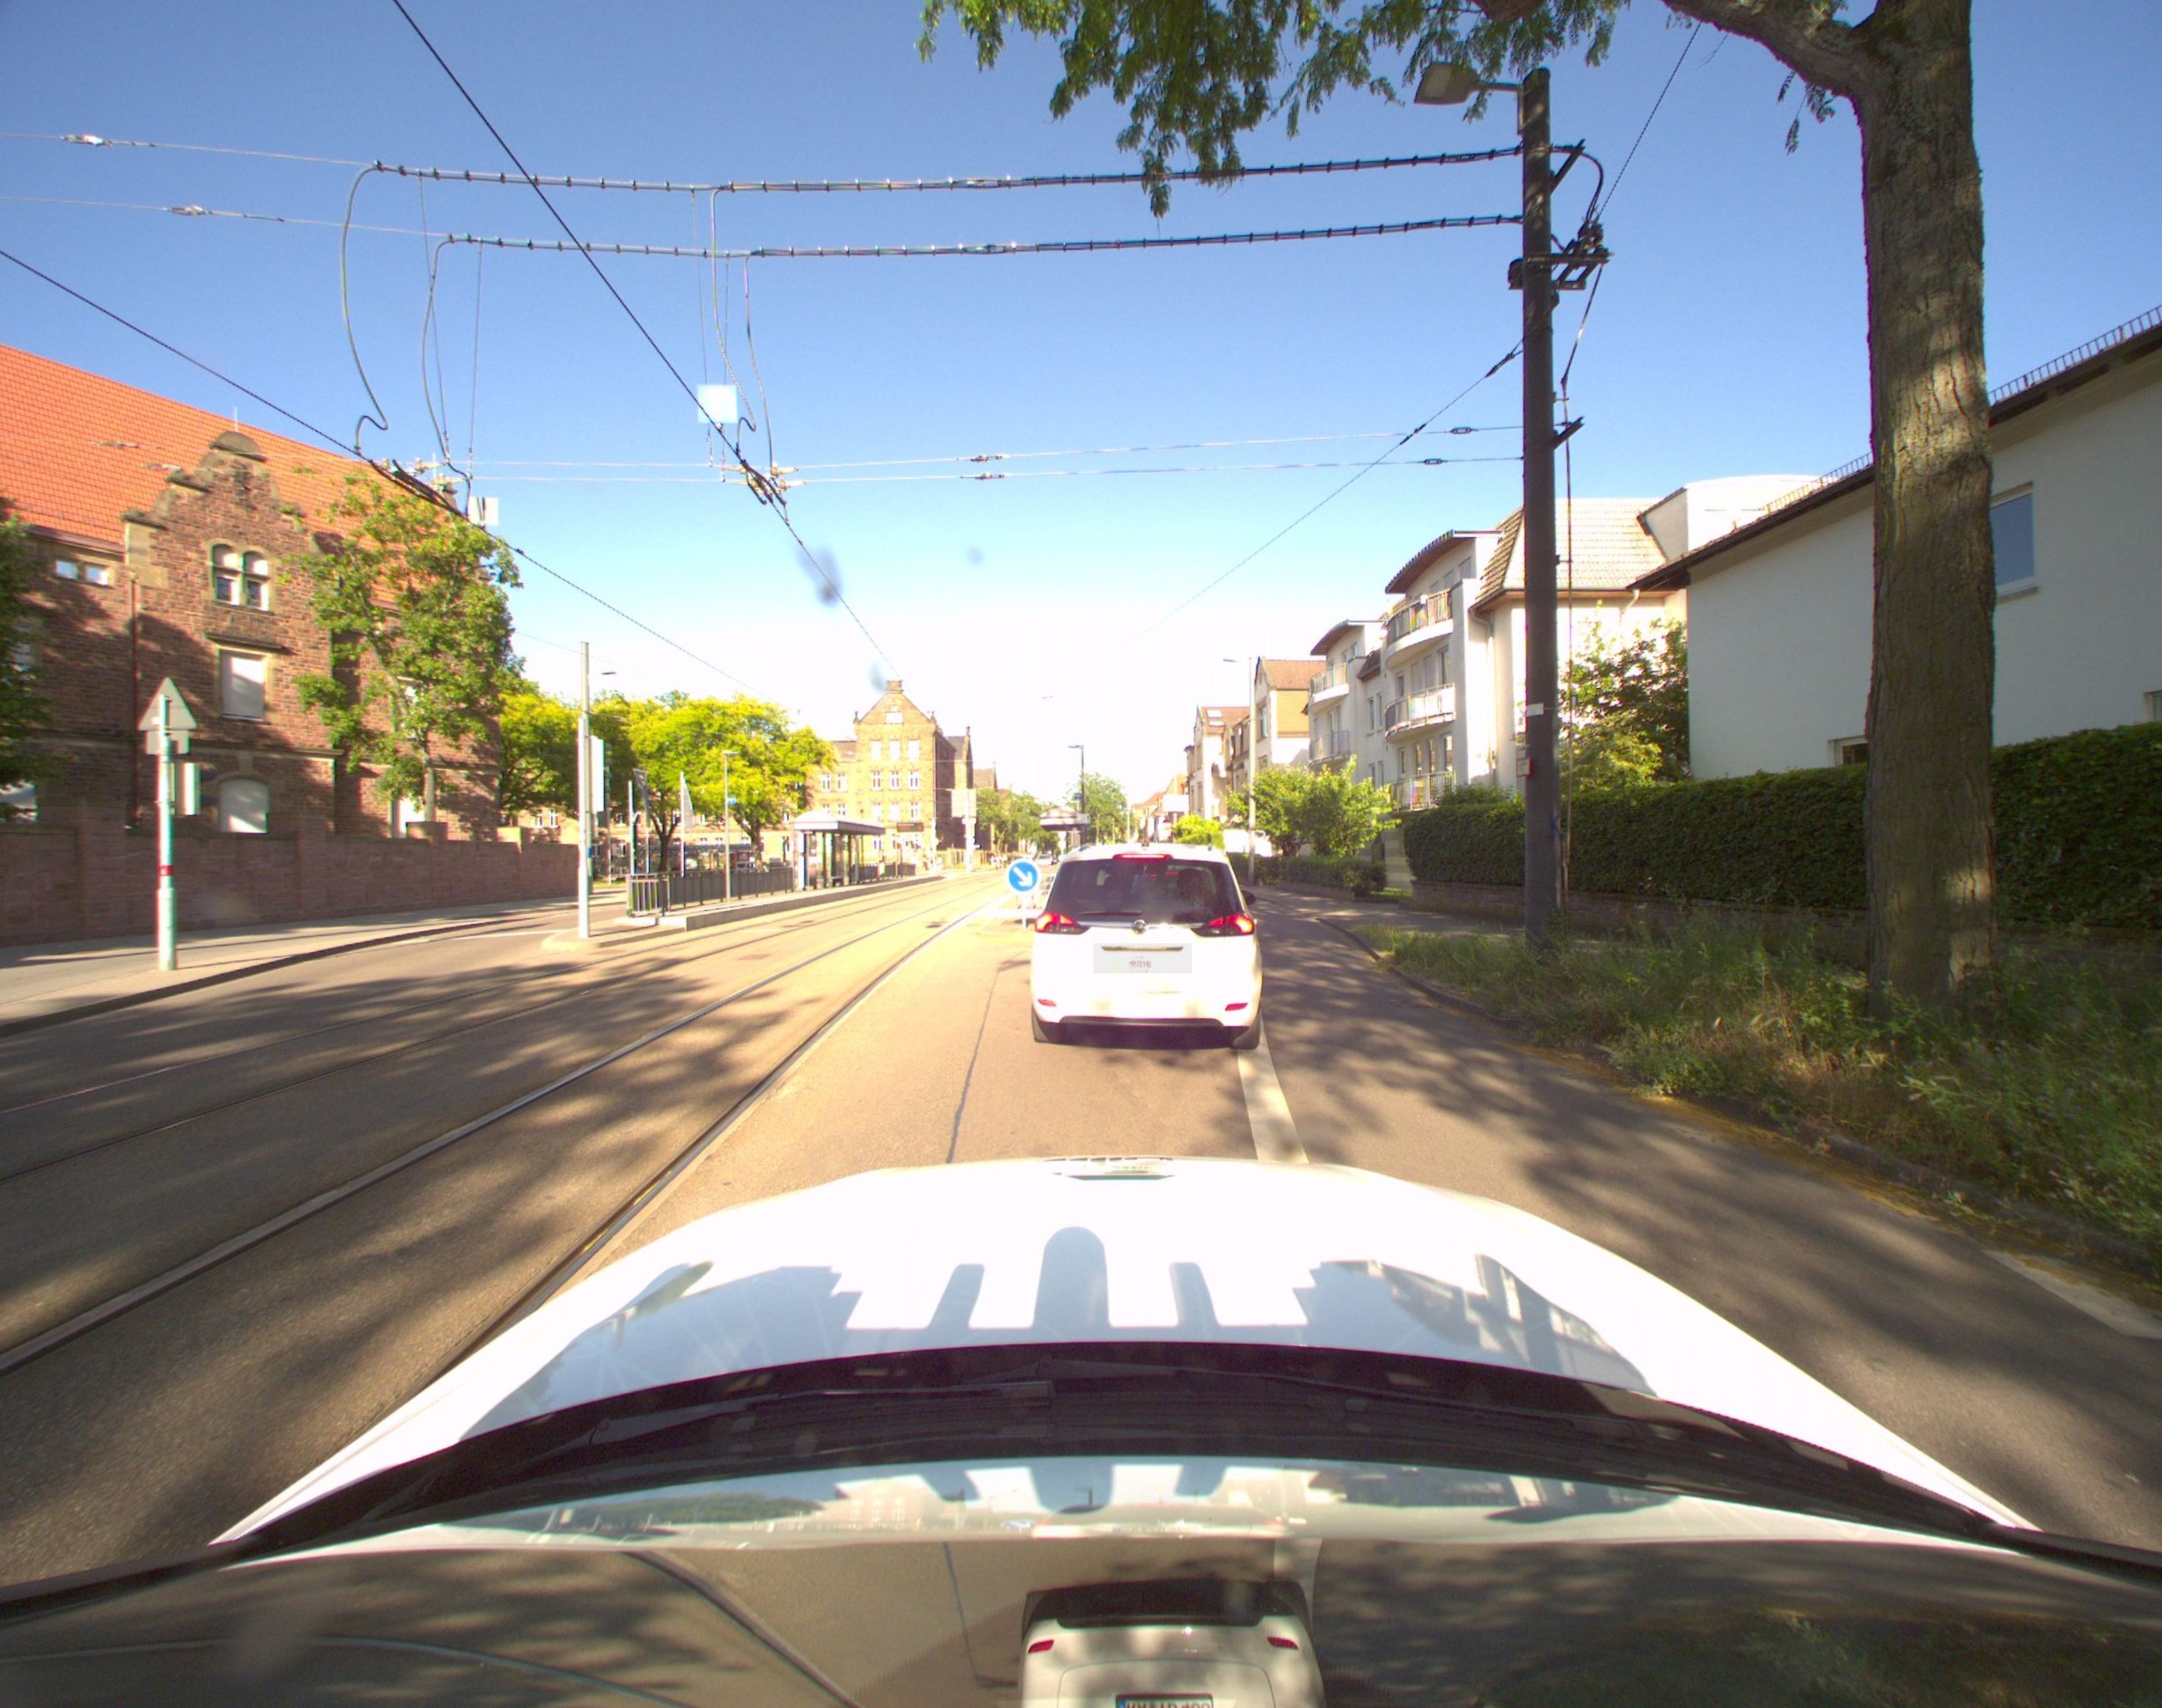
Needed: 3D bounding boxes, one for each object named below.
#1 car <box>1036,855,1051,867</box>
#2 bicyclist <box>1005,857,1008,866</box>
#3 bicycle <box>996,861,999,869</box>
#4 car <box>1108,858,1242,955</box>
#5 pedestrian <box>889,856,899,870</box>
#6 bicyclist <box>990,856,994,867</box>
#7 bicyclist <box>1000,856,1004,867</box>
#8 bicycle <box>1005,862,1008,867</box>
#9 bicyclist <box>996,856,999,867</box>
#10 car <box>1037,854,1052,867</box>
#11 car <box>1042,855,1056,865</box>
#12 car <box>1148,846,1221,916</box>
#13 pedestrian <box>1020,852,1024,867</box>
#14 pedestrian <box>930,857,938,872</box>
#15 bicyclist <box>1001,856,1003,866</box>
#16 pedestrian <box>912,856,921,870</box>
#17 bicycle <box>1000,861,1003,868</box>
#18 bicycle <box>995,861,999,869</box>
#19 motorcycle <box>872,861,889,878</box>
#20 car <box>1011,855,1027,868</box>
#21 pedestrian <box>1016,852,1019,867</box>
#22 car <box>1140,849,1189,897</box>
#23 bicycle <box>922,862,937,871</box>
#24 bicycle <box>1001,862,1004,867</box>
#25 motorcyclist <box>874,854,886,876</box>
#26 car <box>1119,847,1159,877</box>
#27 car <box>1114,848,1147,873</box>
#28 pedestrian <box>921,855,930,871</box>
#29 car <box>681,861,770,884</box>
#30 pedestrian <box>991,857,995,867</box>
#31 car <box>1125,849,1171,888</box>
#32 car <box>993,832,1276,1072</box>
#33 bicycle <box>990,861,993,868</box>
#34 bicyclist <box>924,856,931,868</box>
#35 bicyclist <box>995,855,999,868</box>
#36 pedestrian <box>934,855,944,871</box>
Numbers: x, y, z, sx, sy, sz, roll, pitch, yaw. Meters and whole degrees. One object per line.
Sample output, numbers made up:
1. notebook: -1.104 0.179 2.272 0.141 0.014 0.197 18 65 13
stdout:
1. car: -5.287 0.961 114.750 1.989 1.629 3.996 -1 0 -3
2. bicyclist: -10.205 1.007 112.108 0.358 1.303 0.397 -1 0 -2
3. bicycle: -10.994 1.453 107.072 0.343 0.950 0.996 0 -1 -1
4. car: 1.534 0.792 14.071 1.944 1.397 4.005 -1 0 4
5. pedestrian: -20.462 0.995 89.192 0.936 1.588 0.798 0 -1 -26
6. bicyclist: -12.675 1.067 115.609 0.443 1.553 0.495 -1 0 -2
7. bicyclist: -10.653 1.004 109.610 0.443 1.553 0.495 -1 0 -2
8. bicycle: -10.196 1.472 112.109 0.343 0.725 0.996 0 -1 -1
9. bicyclist: -10.970 0.985 107.031 0.443 1.553 0.495 -1 0 -2
10. car: -4.806 0.899 107.628 1.989 1.629 3.996 -1 0 -3
11. car: -5.120 0.917 130.997 1.987 1.629 4.000 -1 0 0
12. car: 2.576 0.639 20.899 1.630 1.601 3.859 -1 0 4
13. pedestrian: -8.131 0.780 112.660 0.443 2.013 0.495 -1 0 -2
14. pedestrian: -17.337 1.217 96.077 0.728 1.714 0.710 -1 -1 24
15. bicyclist: -10.860 1.005 112.069 0.343 1.320 0.404 0 -1 -2
16. pedestrian: -18.055 0.979 89.443 0.799 1.588 0.934 0 -1 0
17. bicycle: -10.652 1.471 109.615 0.343 0.950 0.996 0 -1 -1
18. bicycle: -10.706 1.422 103.530 0.343 0.950 1.160 0 -1 -1
19. motorcycle: -14.785 1.118 60.033 0.609 1.198 2.078 -1 0 4
20. car: -8.183 0.931 107.486 1.989 1.629 3.996 -1 0 -3
21. pedestrian: -8.760 0.782 112.349 0.443 2.013 0.495 -1 0 -2
22. car: 2.948 0.637 29.325 1.630 1.601 3.859 -1 0 4
23. bicycle: -17.528 1.465 94.211 1.665 0.953 0.529 -1 0 -1
24. bicycle: -10.847 1.476 112.072 0.343 0.725 0.996 0 -1 -1
25. motorcyclist: -14.796 0.781 59.953 0.610 1.621 0.846 -1 0 4
26. car: 3.132 0.417 44.381 1.986 1.503 4.002 -1 0 2
27. car: 3.107 0.388 51.849 1.986 1.503 4.002 -1 0 2
28. pedestrian: -17.010 0.998 89.147 0.839 1.691 1.029 0 -1 1
29. car: -32.953 1.705 75.708 6.926 1.921 2.992 -1 0 0
30. pedestrian: -15.148 1.423 140.409 0.733 1.714 0.753 0 -1 -4
31. car: 2.934 0.613 36.255 1.824 1.579 4.012 -1 0 2
32. car: 0.646 0.684 7.709 1.982 1.644 4.003 0 0 8
33. bicycle: -12.668 1.535 115.643 0.343 0.950 0.996 0 -1 -1
34. bicyclist: -17.728 0.928 94.205 0.756 1.430 0.516 0 -1 -1
35. bicyclist: -10.698 0.956 103.740 0.443 1.553 0.742 -1 0 -2
36. pedestrian: -15.603 0.983 89.526 0.892 1.684 1.029 0 -1 1
